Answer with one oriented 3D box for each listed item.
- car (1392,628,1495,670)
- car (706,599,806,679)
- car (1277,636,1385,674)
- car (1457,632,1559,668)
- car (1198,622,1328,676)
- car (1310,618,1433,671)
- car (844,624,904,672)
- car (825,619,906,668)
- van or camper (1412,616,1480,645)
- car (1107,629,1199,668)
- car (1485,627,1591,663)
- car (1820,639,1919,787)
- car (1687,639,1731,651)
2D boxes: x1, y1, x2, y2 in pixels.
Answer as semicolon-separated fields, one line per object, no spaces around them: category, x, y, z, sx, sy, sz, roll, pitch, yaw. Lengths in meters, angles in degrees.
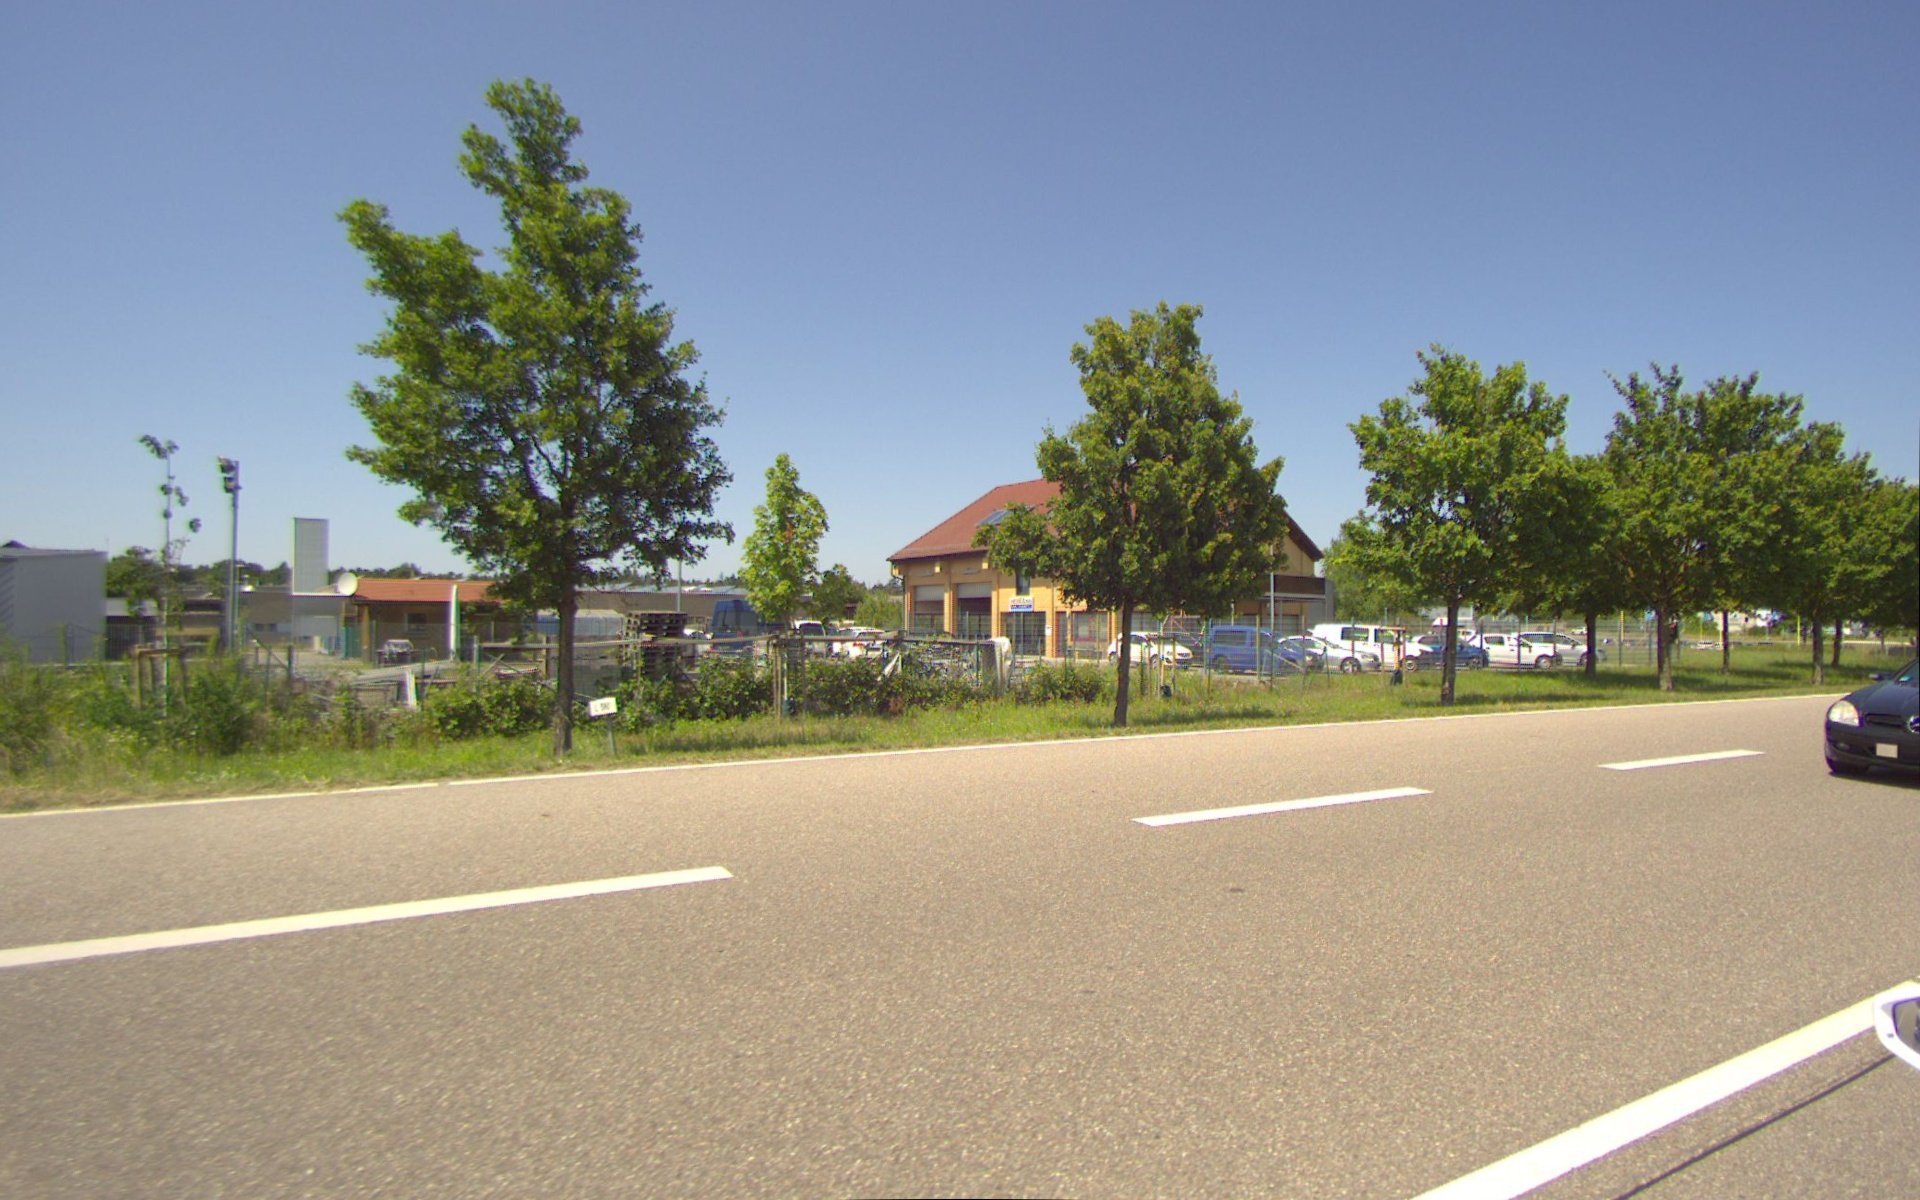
car;20.913;2.086;43.607;3.924;1.617;1.998;1;0;25
car;-7.466;1.457;37.444;2.318;2.758;5.748;0;-2;2
car;14.420;2.100;39.105;3.618;1.281;1.811;1;0;35
car;24.924;2.249;45.815;3.916;1.499;1.672;1;0;22
car;11.283;1.782;37.503;4.236;1.825;2.017;1;0;37
car;17.045;1.794;41.663;4.579;1.980;1.824;1;0;28
car;-3.557;1.934;40.762;2.019;1.830;4.627;0;-2;-10
car;-4.859;2.263;52.395;2.017;2.458;5.102;-1;-3;23
van or camper;42.256;2.622;87.264;6.471;2.394;2.447;2;-1;-34
car;7.808;1.939;40.879;1.624;1.427;3.665;1;0;-33
car;27.902;2.165;48.639;4.258;1.564;1.589;1;0;21
car;10.200;1.054;9.832;3.768;1.285;1.627;1;0;-31
car;90.227;5.387;121.051;3.922;1.412;2.000;1;-1;-1
